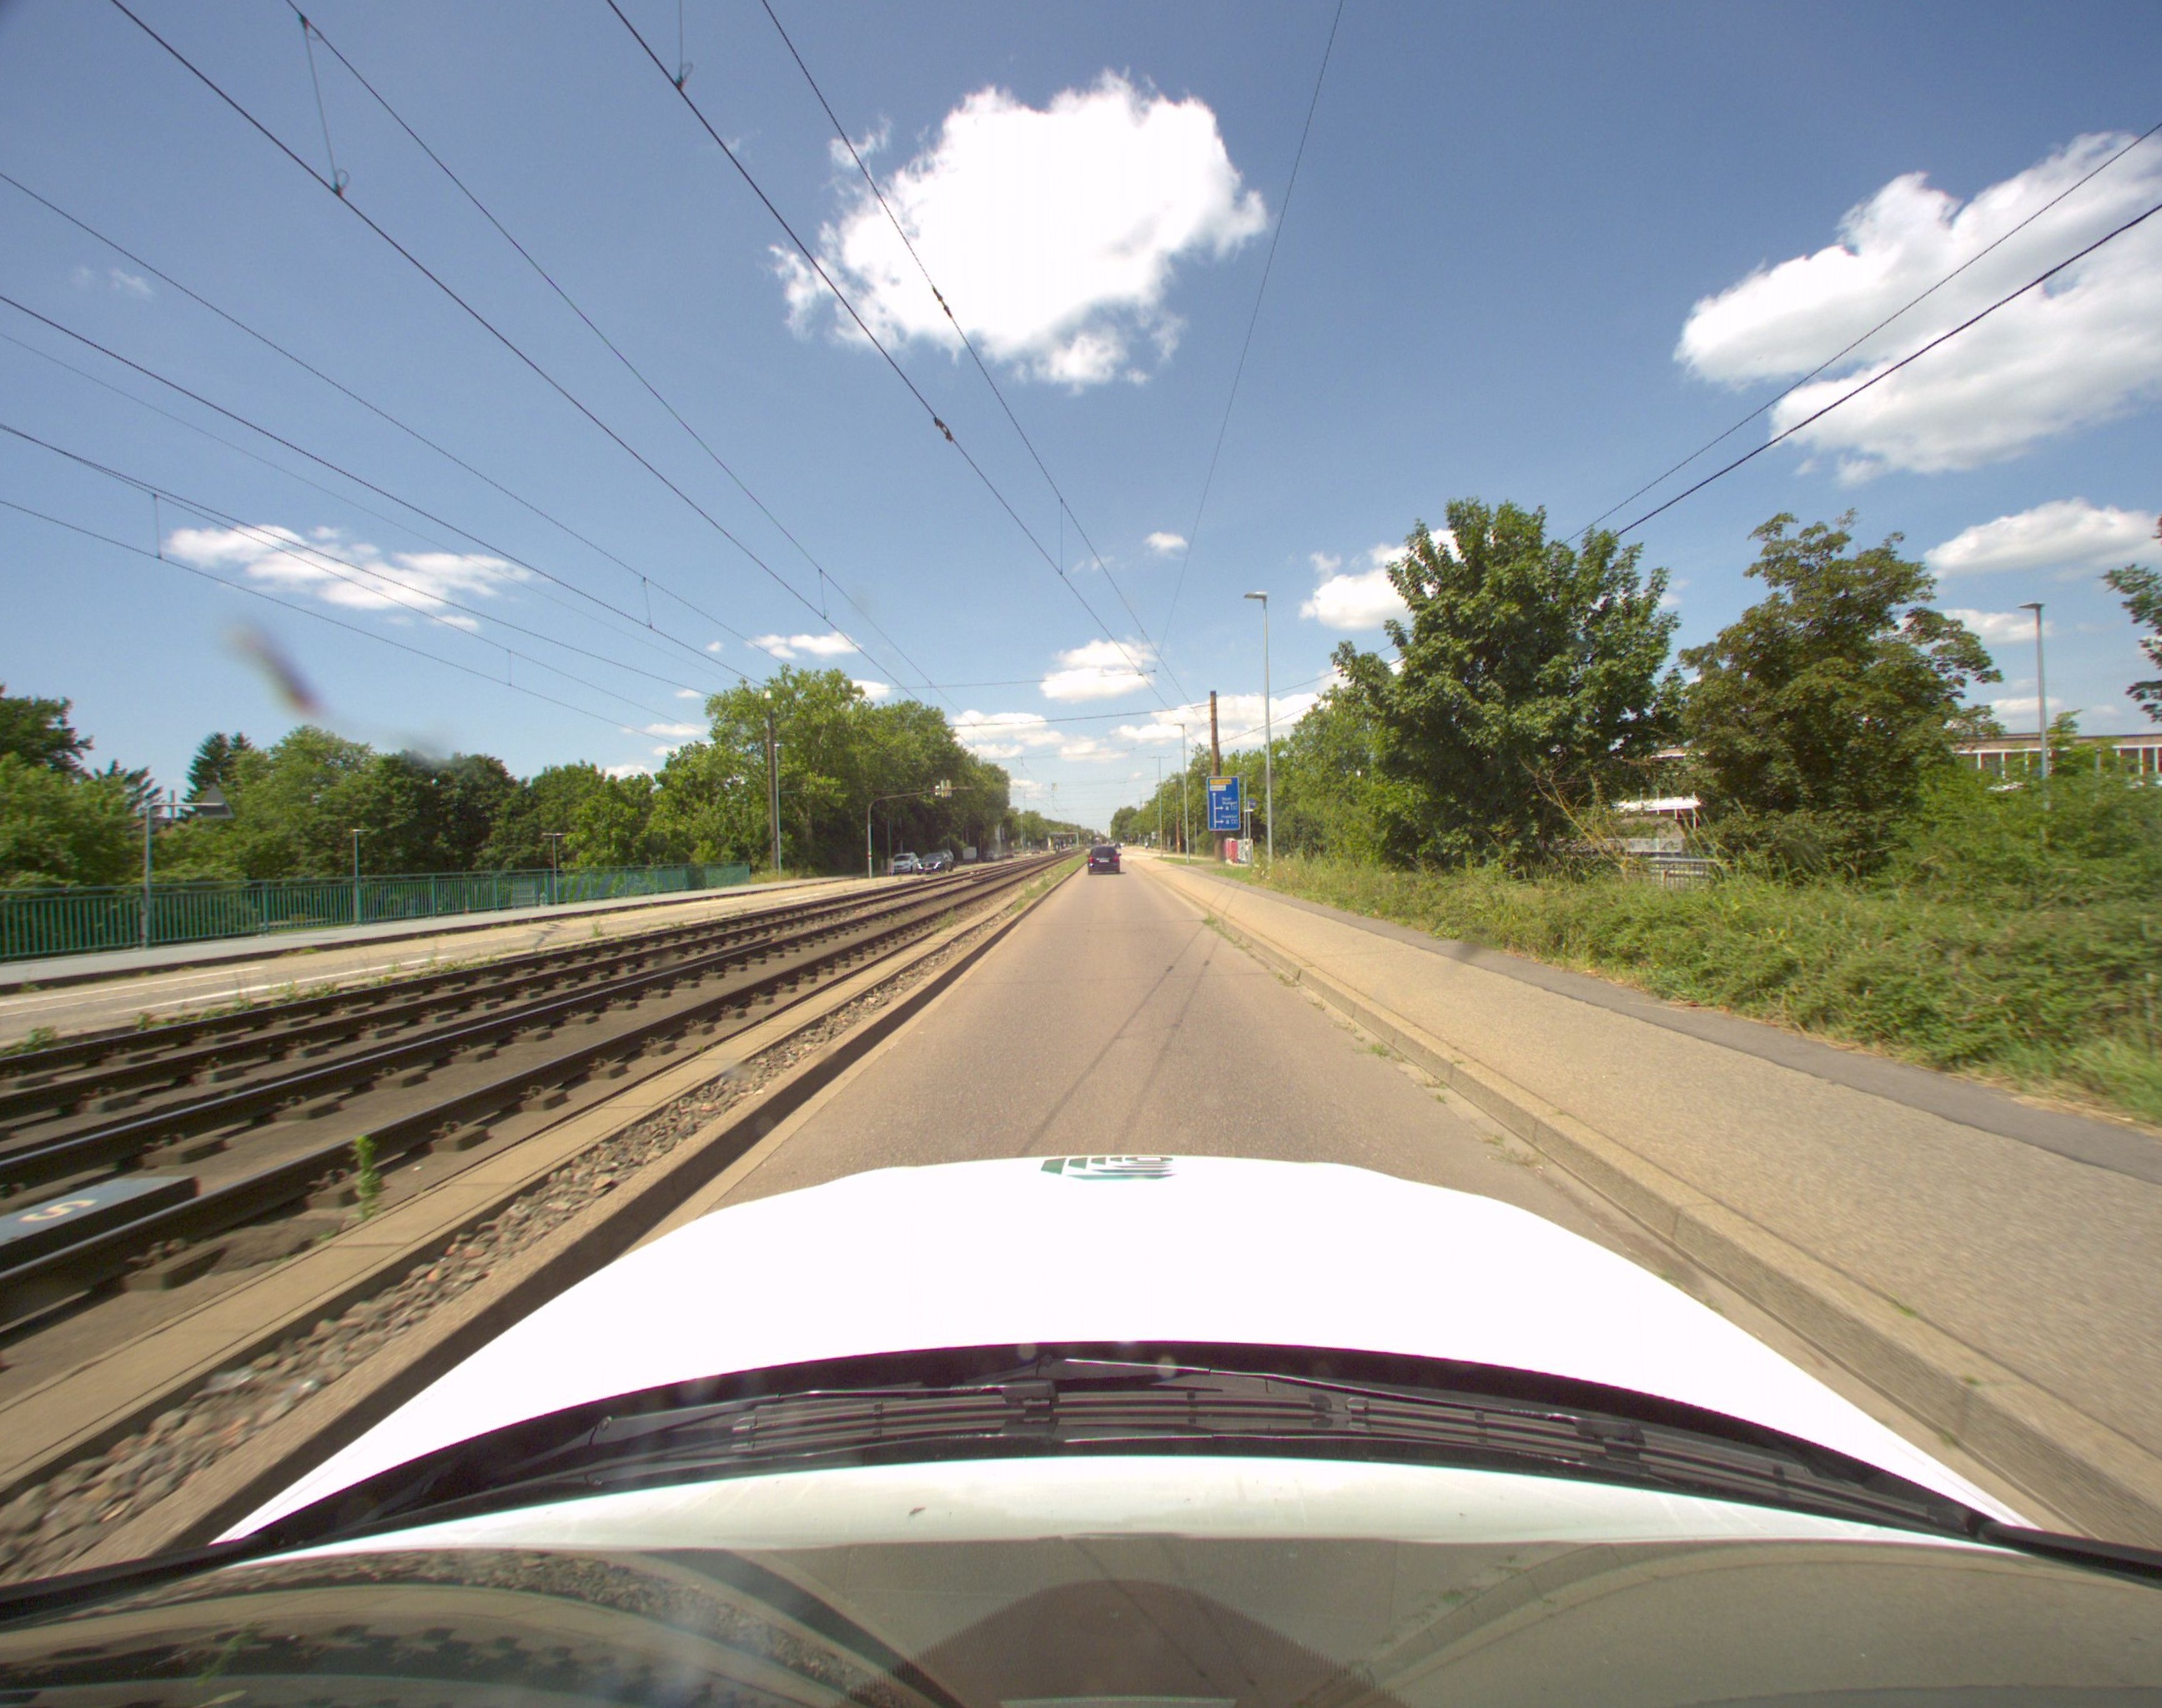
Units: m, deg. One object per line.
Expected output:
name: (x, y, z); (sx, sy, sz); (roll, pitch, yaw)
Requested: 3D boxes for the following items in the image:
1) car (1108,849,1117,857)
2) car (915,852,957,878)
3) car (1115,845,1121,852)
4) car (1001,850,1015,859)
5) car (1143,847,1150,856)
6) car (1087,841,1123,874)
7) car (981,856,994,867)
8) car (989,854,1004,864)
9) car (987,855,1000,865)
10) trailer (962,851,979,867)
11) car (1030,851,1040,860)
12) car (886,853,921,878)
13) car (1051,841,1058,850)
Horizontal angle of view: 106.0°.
car: (6.937, -0.145, 179.036); (1.877, 1.639, 4.003); (2, 1, 2)
car: (-10.301, 0.754, 58.347); (1.868, 1.720, 5.332); (-2, 0, 1)
car: (11.022, -1.724, 241.923); (1.780, 2.013, 4.002); (-1, 1, 2)
car: (-13.179, 0.067, 147.540); (1.986, 1.574, 4.001); (-1, 0, 1)
car: (16.029, -0.578, 198.765); (1.607, 2.013, 3.440); (-1, 1, 1)
car: (1.370, 0.154, 45.194); (1.846, 1.570, 4.392); (-1, 2, 2)
car: (-13.452, 1.055, 117.387); (1.429, 1.451, 3.921); (-1, 0, 0)
car: (-13.355, 0.776, 129.041); (1.864, 1.401, 4.417); (-1, 0, 0)
car: (-13.278, 0.885, 123.514); (1.429, 1.451, 3.740); (-1, 0, 0)
trailer: (-13.831, 0.600, 102.324); (1.605, 2.013, 3.914); (-1, 1, -1)
car: (-11.237, 0.336, 199.048); (1.986, 2.013, 4.002); (-3, 0, 2)
car: (-14.382, 0.908, 66.198); (1.714, 1.630, 4.617); (-5, 2, 1)
car: (-6.626, -2.076, 202.304); (1.580, 2.013, 4.110); (-1, 1, 0)
